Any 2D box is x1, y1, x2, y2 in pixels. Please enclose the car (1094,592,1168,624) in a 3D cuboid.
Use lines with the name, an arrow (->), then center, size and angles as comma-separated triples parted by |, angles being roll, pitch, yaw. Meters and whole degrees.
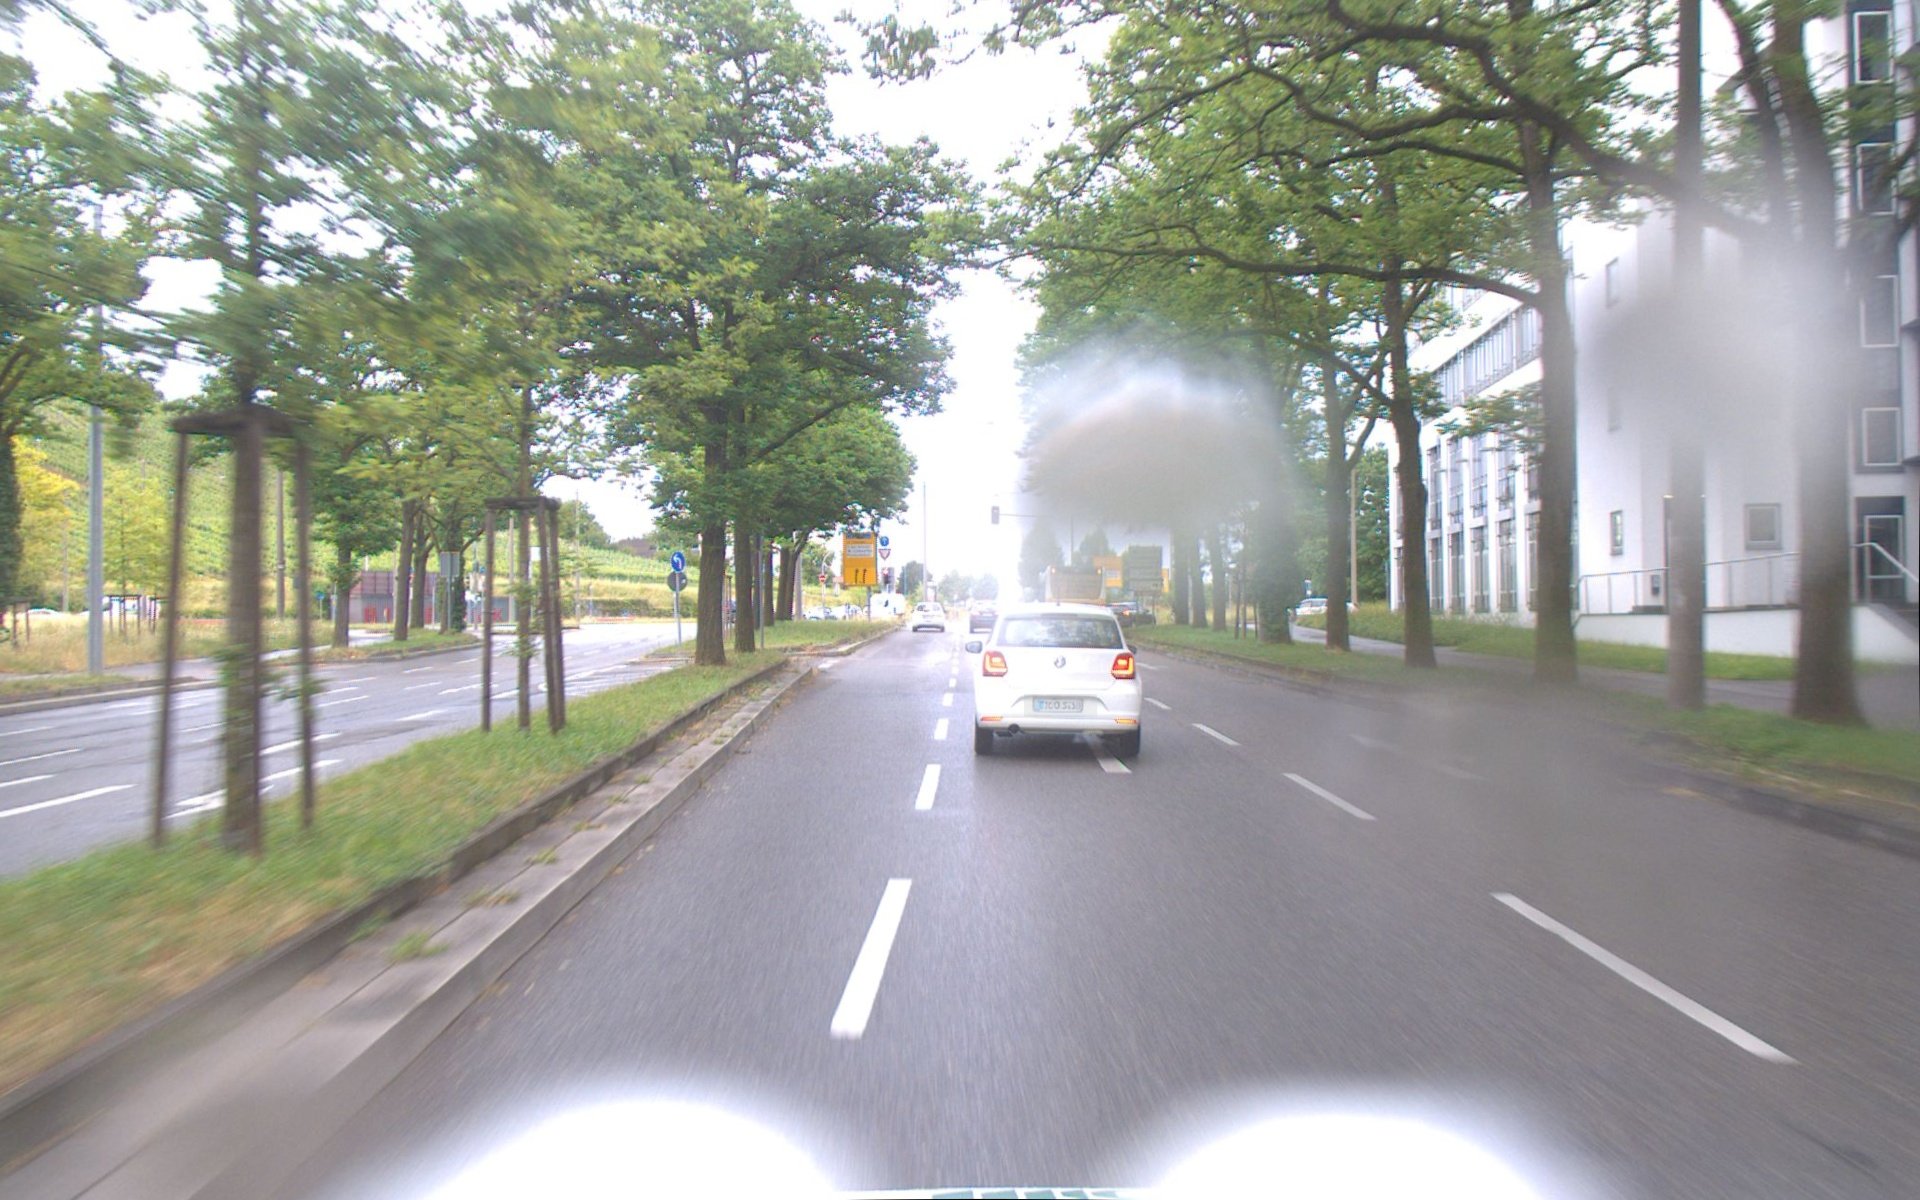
car -> 8.690, 0.403, 83.672 | 3.798, 1.542, 1.673 | 0, -1, -44

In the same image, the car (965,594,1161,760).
car -> 0.964, 0.709, 17.356 | 1.758, 1.528, 3.999 | 0, 0, -1

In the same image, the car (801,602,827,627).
car -> -12.374, 1.280, 140.470 | 1.953, 2.049, 3.997 | -1, -2, -2

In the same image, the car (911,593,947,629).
car -> -1.597, 0.581, 86.101 | 1.757, 1.772, 4.000 | -1, -1, 0

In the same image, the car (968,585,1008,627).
car -> 1.445, 0.350, 84.258 | 1.952, 2.049, 4.000 | -1, -1, 1

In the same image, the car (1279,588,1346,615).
car -> 22.408, 0.113, 105.106 | 3.905, 1.563, 2.000 | -2, 0, 22

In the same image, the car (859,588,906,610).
car -> -7.638, -0.079, 163.900 | 1.955, 2.049, 5.702 | -2, 0, 28

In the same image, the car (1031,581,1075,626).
car -> 4.515, 0.204, 80.416 | 1.952, 2.049, 4.000 | -1, -1, 1

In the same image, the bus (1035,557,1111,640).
bus -> 4.794, -0.076, 71.832 | 2.770, 3.324, 10.001 | -1, 0, 1
